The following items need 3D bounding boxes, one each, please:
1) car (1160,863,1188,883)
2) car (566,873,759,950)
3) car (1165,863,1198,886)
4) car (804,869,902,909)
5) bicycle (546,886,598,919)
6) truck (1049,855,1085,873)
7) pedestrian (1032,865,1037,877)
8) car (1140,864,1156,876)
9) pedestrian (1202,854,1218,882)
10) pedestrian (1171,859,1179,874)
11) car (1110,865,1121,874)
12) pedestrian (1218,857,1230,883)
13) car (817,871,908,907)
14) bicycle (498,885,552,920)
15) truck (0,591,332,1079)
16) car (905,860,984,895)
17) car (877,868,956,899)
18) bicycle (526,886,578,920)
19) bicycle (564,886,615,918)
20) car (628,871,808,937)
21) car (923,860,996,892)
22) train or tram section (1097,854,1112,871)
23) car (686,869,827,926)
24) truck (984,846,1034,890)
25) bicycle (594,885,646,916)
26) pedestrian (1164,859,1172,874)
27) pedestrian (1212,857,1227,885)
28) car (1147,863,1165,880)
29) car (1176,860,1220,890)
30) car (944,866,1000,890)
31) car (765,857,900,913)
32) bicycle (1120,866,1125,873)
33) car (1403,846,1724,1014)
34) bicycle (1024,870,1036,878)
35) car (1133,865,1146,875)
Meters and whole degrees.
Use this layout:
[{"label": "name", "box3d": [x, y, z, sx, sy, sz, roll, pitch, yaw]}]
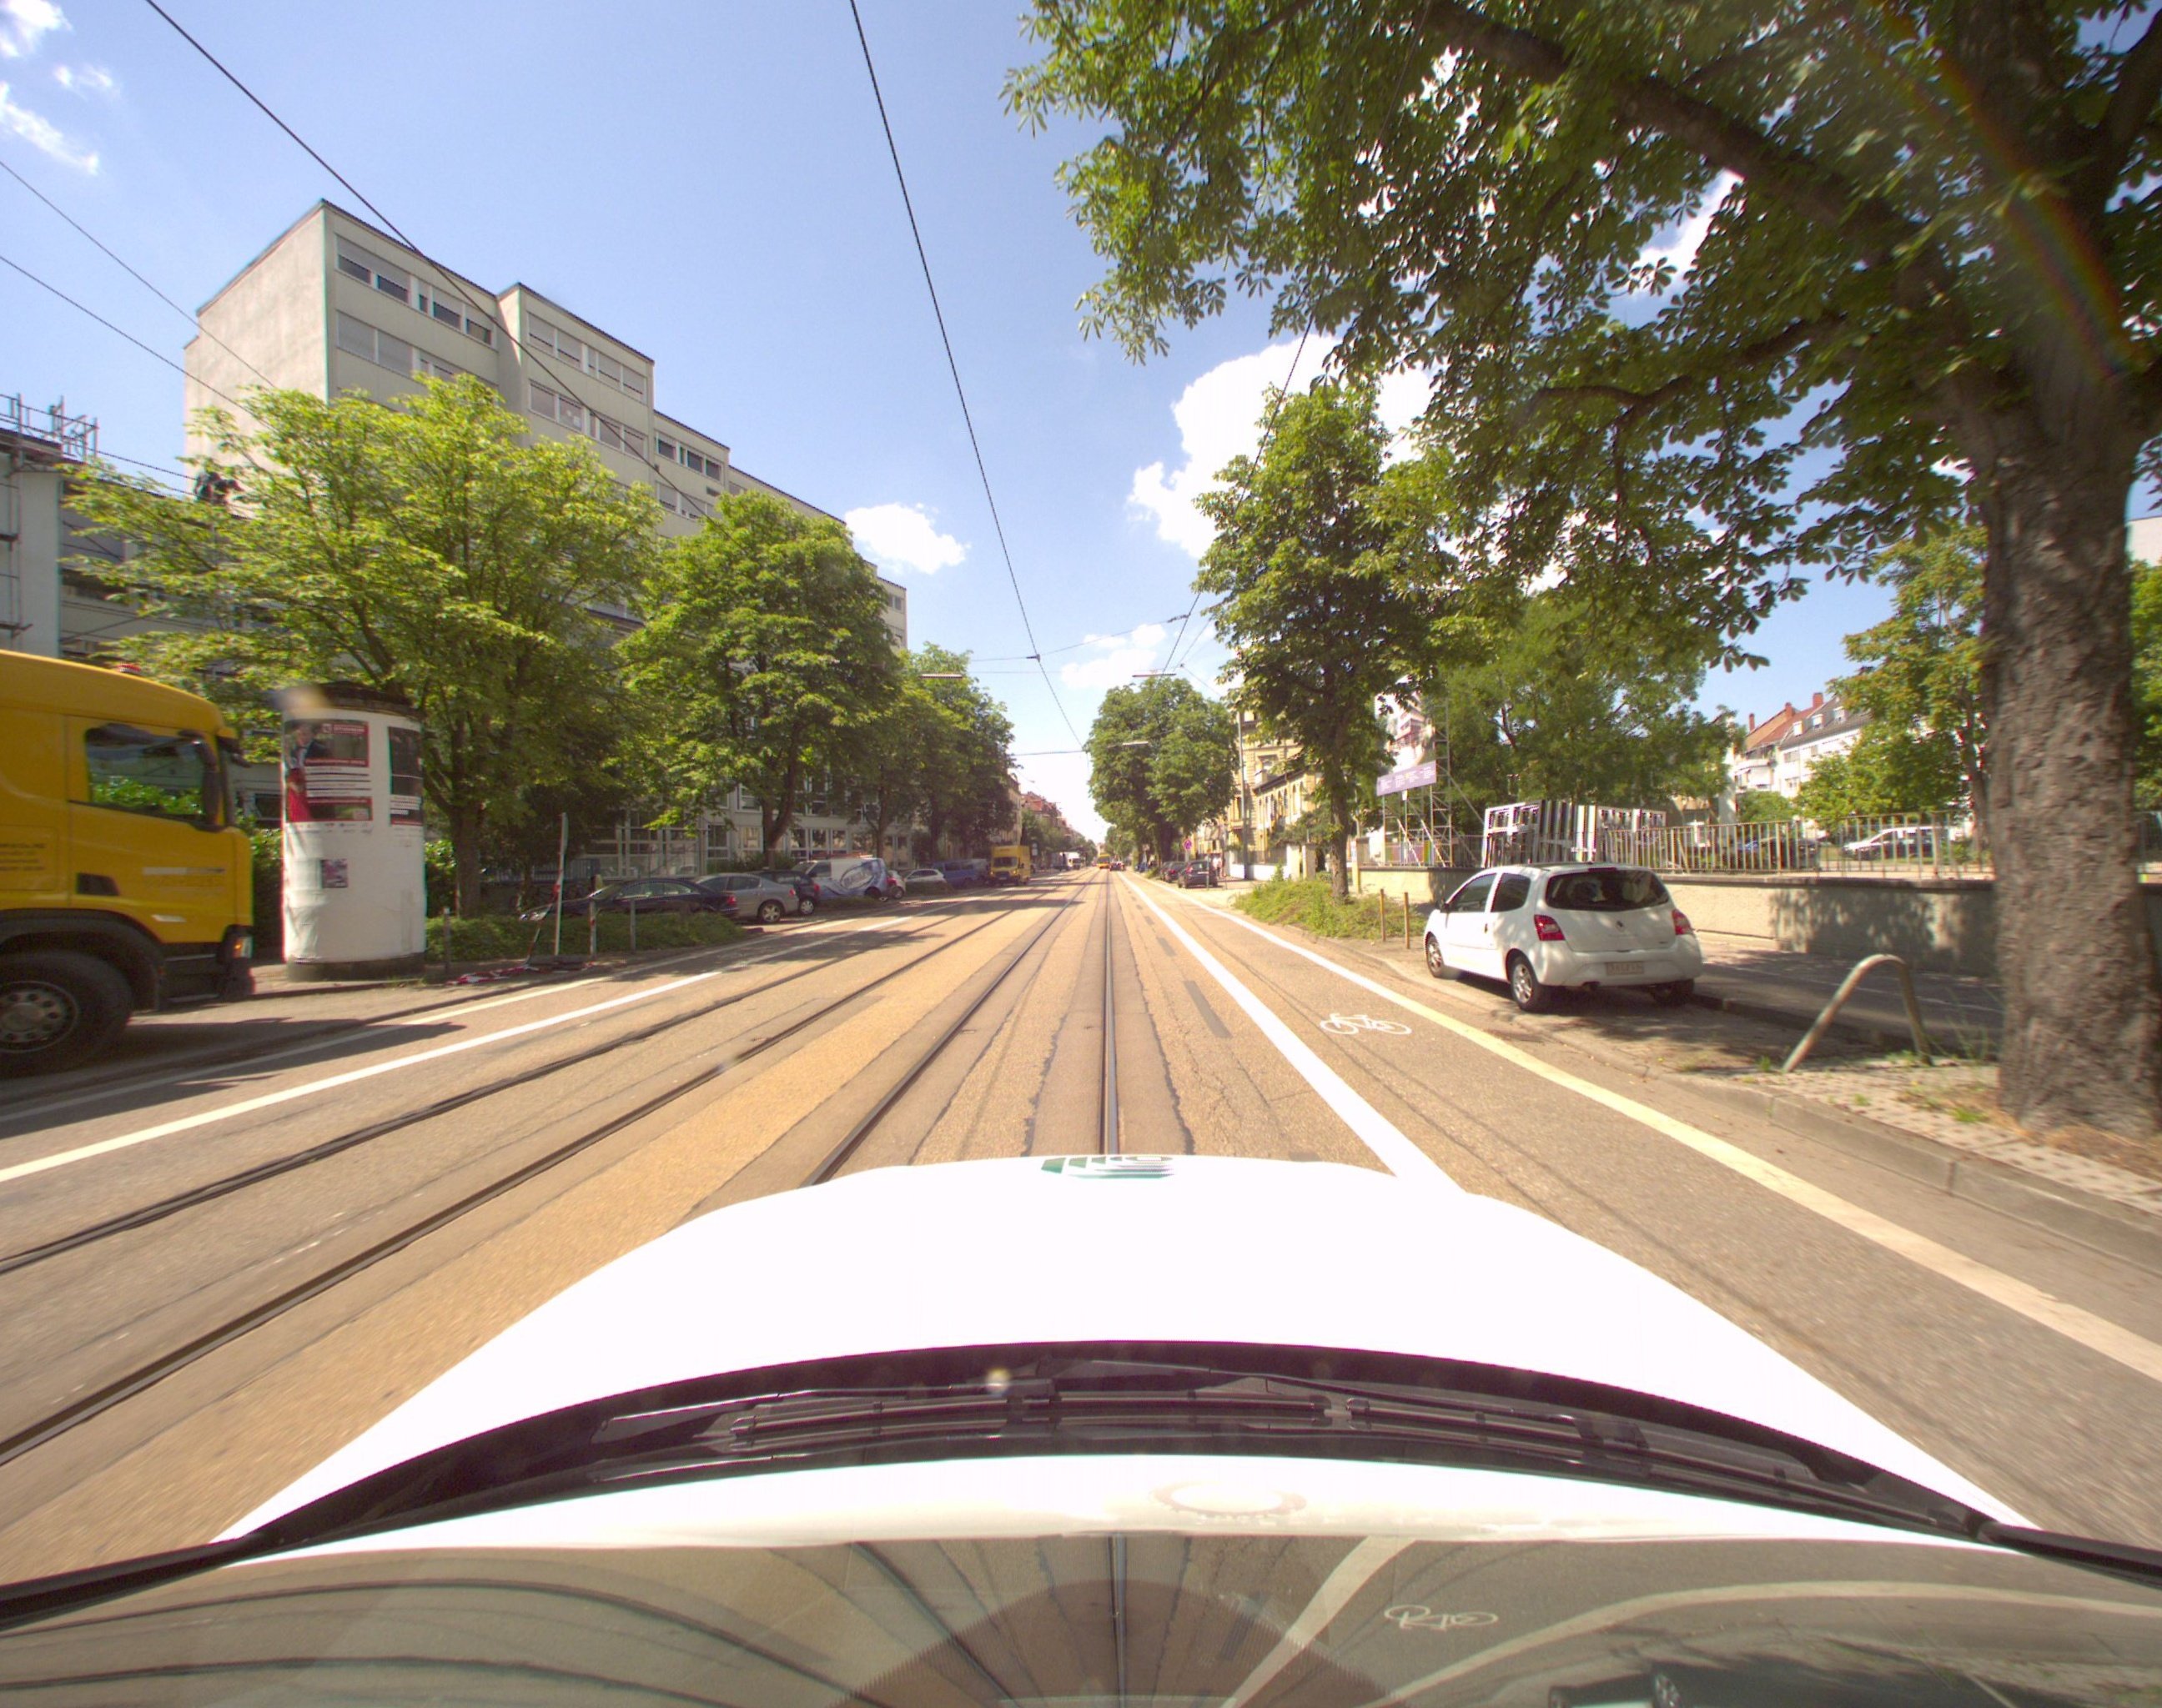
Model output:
[{"label": "car", "box3d": [7.081, 1.428, 62.105, 1.704, 1.423, 4.244, -2, -1, 1]}, {"label": "car", "box3d": [-10.001, 1.322, 19.619, 1.740, 1.507, 3.731, -4, -1, 44]}, {"label": "car", "box3d": [6.816, 1.383, 55.636, 1.869, 1.455, 4.530, -2, -1, 2]}, {"label": "car", "box3d": [-10.009, 1.524, 35.913, 3.731, 1.507, 1.795, -2, -2, -44]}, {"label": "bicycle", "box3d": [-17.807, 1.678, 28.474, 1.992, 1.075, 0.561, 0, -1, 27]}, {"label": "truck", "box3d": [-2.911, 2.018, 163.816, 2.961, 3.550, 8.361, -1, -1, -34]}, {"label": "pedestrian", "box3d": [-6.503, 2.349, 112.947, 0.570, 1.616, 0.817, -2, -1, 2]}, {"label": "car", "box3d": [8.490, 1.989, 103.503, 1.704, 1.423, 4.310, -2, -1, 1]}, {"label": "pedestrian", "box3d": [8.700, 0.931, 55.069, 0.800, 1.860, 0.580, -3, -1, 34]}, {"label": "pedestrian", "box3d": [11.657, 1.512, 101.236, 0.806, 1.860, 0.623, -1, -3, 0]}, {"label": "car", "box3d": [5.477, 2.414, 129.583, 1.774, 1.346, 3.417, -2, -1, 2]}, {"label": "pedestrian", "box3d": [9.755, 1.084, 55.559, 0.613, 1.737, 0.480, -4, -2, 24]}, {"label": "car", "box3d": [-10.328, 1.640, 38.548, 3.731, 1.467, 1.741, -2, -2, -44]}, {"label": "bicycle", "box3d": [-18.437, 1.599, 26.985, 1.992, 1.075, 0.561, 0, -1, 27]}, {"label": "truck", "box3d": [-10.709, -0.207, 3.597, 2.695, 3.842, 11.009, 0, -1, 16]}, {"label": "car", "box3d": [-8.780, 1.495, 52.706, 4.759, 1.955, 1.824, -2, -1, -44]}, {"label": "car", "box3d": [-9.288, 1.668, 46.185, 1.740, 1.433, 4.024, -6, -2, 44]}, {"label": "bicycle", "box3d": [-18.102, 1.666, 27.852, 1.992, 1.075, 0.561, 0, -1, 27]}, {"label": "bicycle", "box3d": [-17.532, 1.686, 29.034, 1.992, 1.075, 0.561, 0, -1, 27]}, {"label": "car", "box3d": [-10.111, 1.339, 22.824, 4.225, 1.507, 1.852, -2, -1, -40]}, {"label": "car", "box3d": [-8.752, 1.578, 58.933, 4.785, 2.062, 2.003, -2, -1, -38]}, {"label": "train or tram section", "box3d": [5.163, 1.906, 178.335, 3.023, 3.438, 11.977, -2, -1, 2]}, {"label": "car", "box3d": [-10.234, 1.339, 25.831, 3.731, 1.544, 1.671, -2, -1, -44]}, {"label": "truck", "box3d": [-4.994, 0.971, 57.718, 2.350, 2.852, 7.384, -2, -1, 3]}, {"label": "bicycle", "box3d": [-16.890, 1.703, 29.844, 2.110, 1.075, 0.561, 0, -1, 27]}, {"label": "pedestrian", "box3d": [10.739, 1.512, 100.600, 0.806, 1.860, 0.623, -1, -3, 0]}, {"label": "pedestrian", "box3d": [9.243, 1.149, 54.379, 0.717, 1.860, 0.580, -3, -1, 33]}, {"label": "car", "box3d": [7.703, 1.785, 84.086, 1.586, 1.617, 3.908, -2, -1, 1]}, {"label": "car", "box3d": [6.155, 1.099, 43.214, 1.634, 1.485, 3.870, -2, -1, -1]}, {"label": "car", "box3d": [-8.344, 1.857, 62.439, 3.942, 1.600, 1.726, -2, -1, -44]}, {"label": "car", "box3d": [-9.931, 1.218, 32.812, 1.897, 1.935, 4.785, -4, -2, 44]}, {"label": "bicycle", "box3d": [5.906, 2.223, 115.480, 0.636, 0.969, 1.780, 0, -2, 1]}, {"label": "car", "box3d": [5.245, 0.721, 9.497, 1.637, 1.534, 3.788, -2, 0, 3]}, {"label": "bicycle", "box3d": [-6.480, 2.506, 103.252, 0.538, 0.969, 1.792, -2, -3, 32]}, {"label": "car", "box3d": [8.788, 2.357, 121.923, 1.704, 1.423, 4.310, -2, -1, 1]}]
